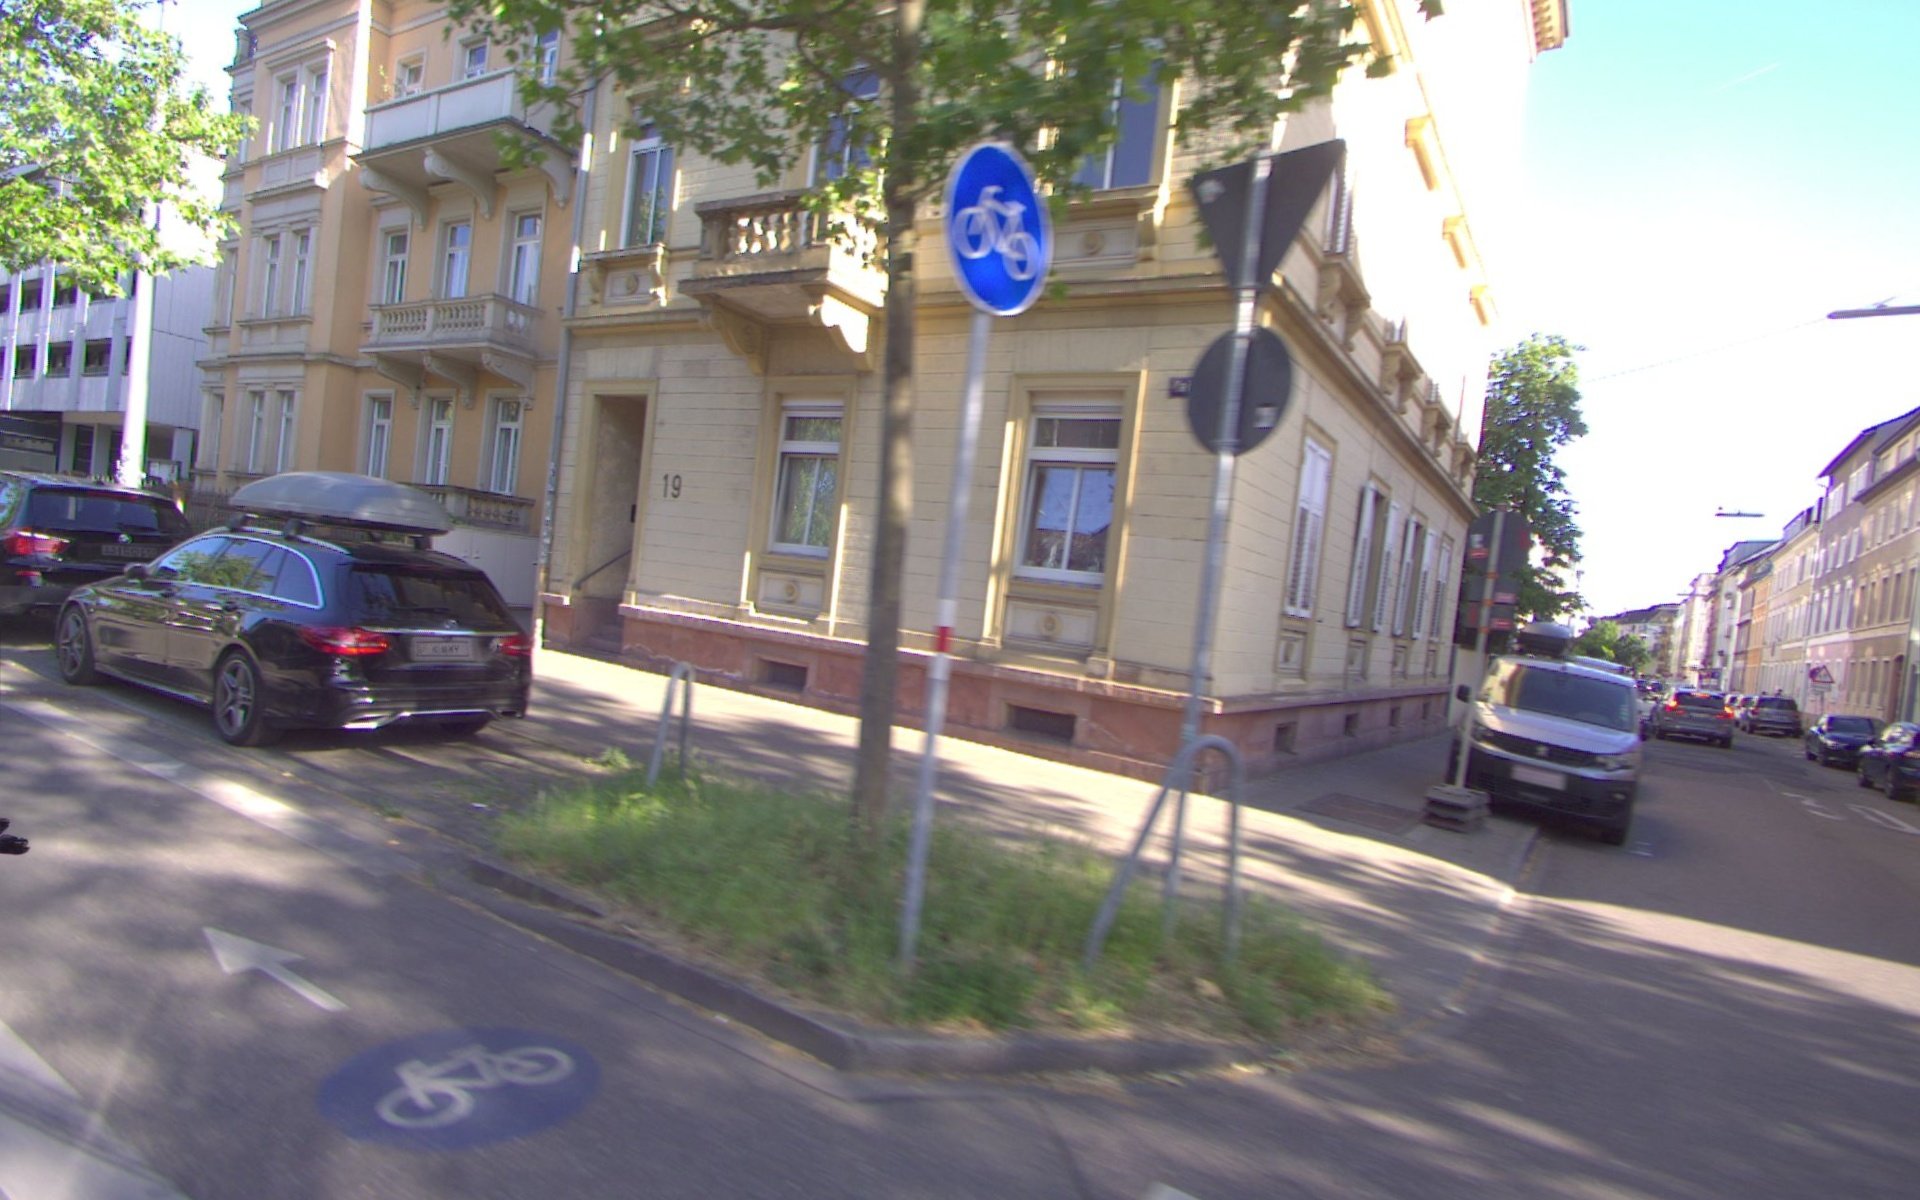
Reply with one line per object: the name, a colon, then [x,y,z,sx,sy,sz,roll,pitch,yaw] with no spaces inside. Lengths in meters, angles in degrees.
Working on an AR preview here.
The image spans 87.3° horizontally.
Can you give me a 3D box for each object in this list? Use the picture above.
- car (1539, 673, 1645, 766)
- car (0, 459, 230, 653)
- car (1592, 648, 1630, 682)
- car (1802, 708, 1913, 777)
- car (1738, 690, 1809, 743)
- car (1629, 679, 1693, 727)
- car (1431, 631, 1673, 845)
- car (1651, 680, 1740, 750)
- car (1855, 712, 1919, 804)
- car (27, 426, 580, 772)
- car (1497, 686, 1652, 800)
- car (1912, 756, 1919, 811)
car: [13.124,2.420,20.811,1.576,1.525,3.308,8,0,35]
car: [-10.237,-0.589,11.096,4.658,1.721,1.800,7,0,32]
car: [45.335,4.550,70.109,1.922,2.038,3.990,7,0,33]
car: [25.442,4.012,28.637,1.624,1.564,3.737,8,-1,33]
car: [34.588,4.964,42.874,1.804,1.837,3.786,8,-1,34]
car: [28.947,4.271,41.618,1.838,1.609,3.635,8,-1,33]
car: [7.135,1.510,11.943,1.890,1.794,4.585,8,0,35]
car: [23.128,3.618,31.765,1.883,1.766,3.992,8,-1,34]
car: [20.464,3.381,21.133,1.761,1.635,3.866,8,1,33]
car: [-5.391,-0.151,8.047,4.658,1.989,1.757,8,1,32]
car: [10.217,2.232,16.584,1.816,1.364,4.371,7,0,35]
car: [18.061,3.151,17.397,1.595,1.579,3.240,8,0,34]
